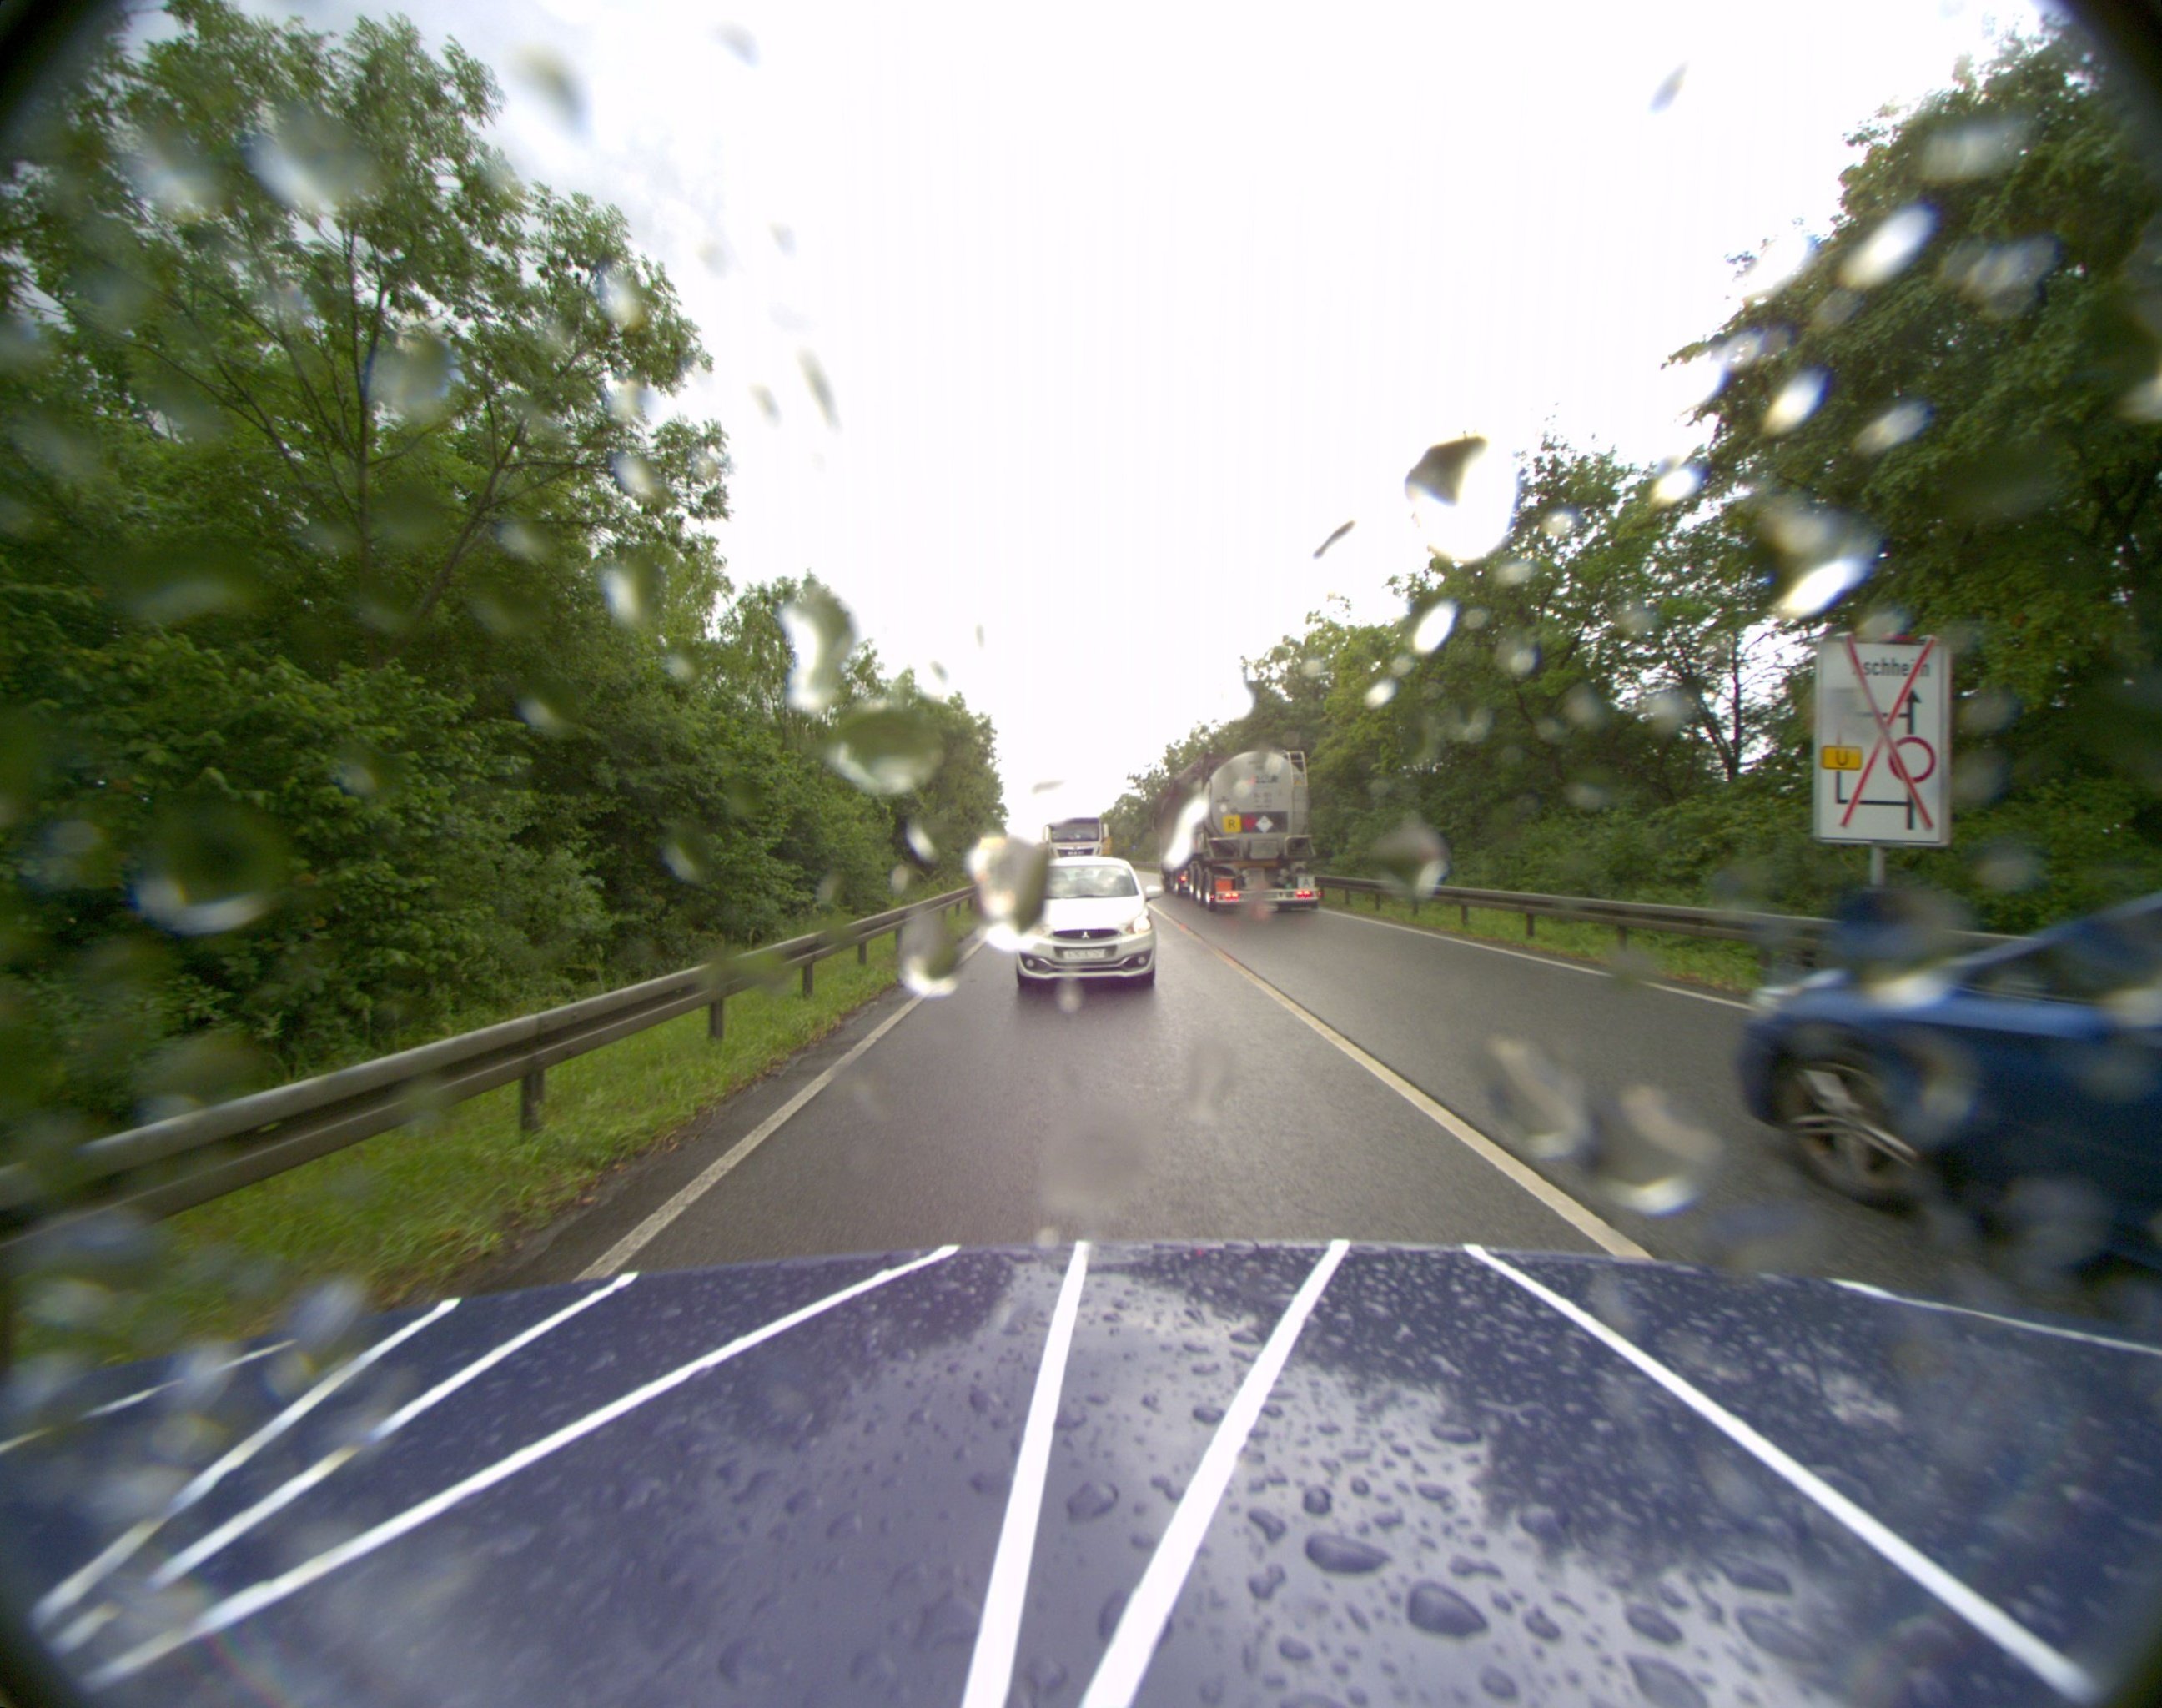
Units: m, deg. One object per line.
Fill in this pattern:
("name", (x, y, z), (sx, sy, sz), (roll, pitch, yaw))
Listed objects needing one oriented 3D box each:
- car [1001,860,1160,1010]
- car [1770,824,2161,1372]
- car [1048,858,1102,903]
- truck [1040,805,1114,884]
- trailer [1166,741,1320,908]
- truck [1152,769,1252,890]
("car", (0.009, 0.867, 10.049), (1.610, 1.435, 4.209), (-2, 1, 0))
("car", (3.878, 0.686, 1.359), (1.712, 1.507, 3.912), (-2, 1, 0))
("car", (-0.139, 0.878, 27.144), (1.640, 1.413, 4.492), (-2, 0, 3))
("truck", (-0.366, -0.468, 38.121), (3.137, 3.364, 9.280), (-2, 1, -2))
("trailer", (4.236, -0.744, 21.682), (2.543, 3.803, 7.789), (-2, 1, -1))
("truck", (4.153, -0.825, 27.165), (2.543, 3.803, 5.243), (-2, 1, -1))
